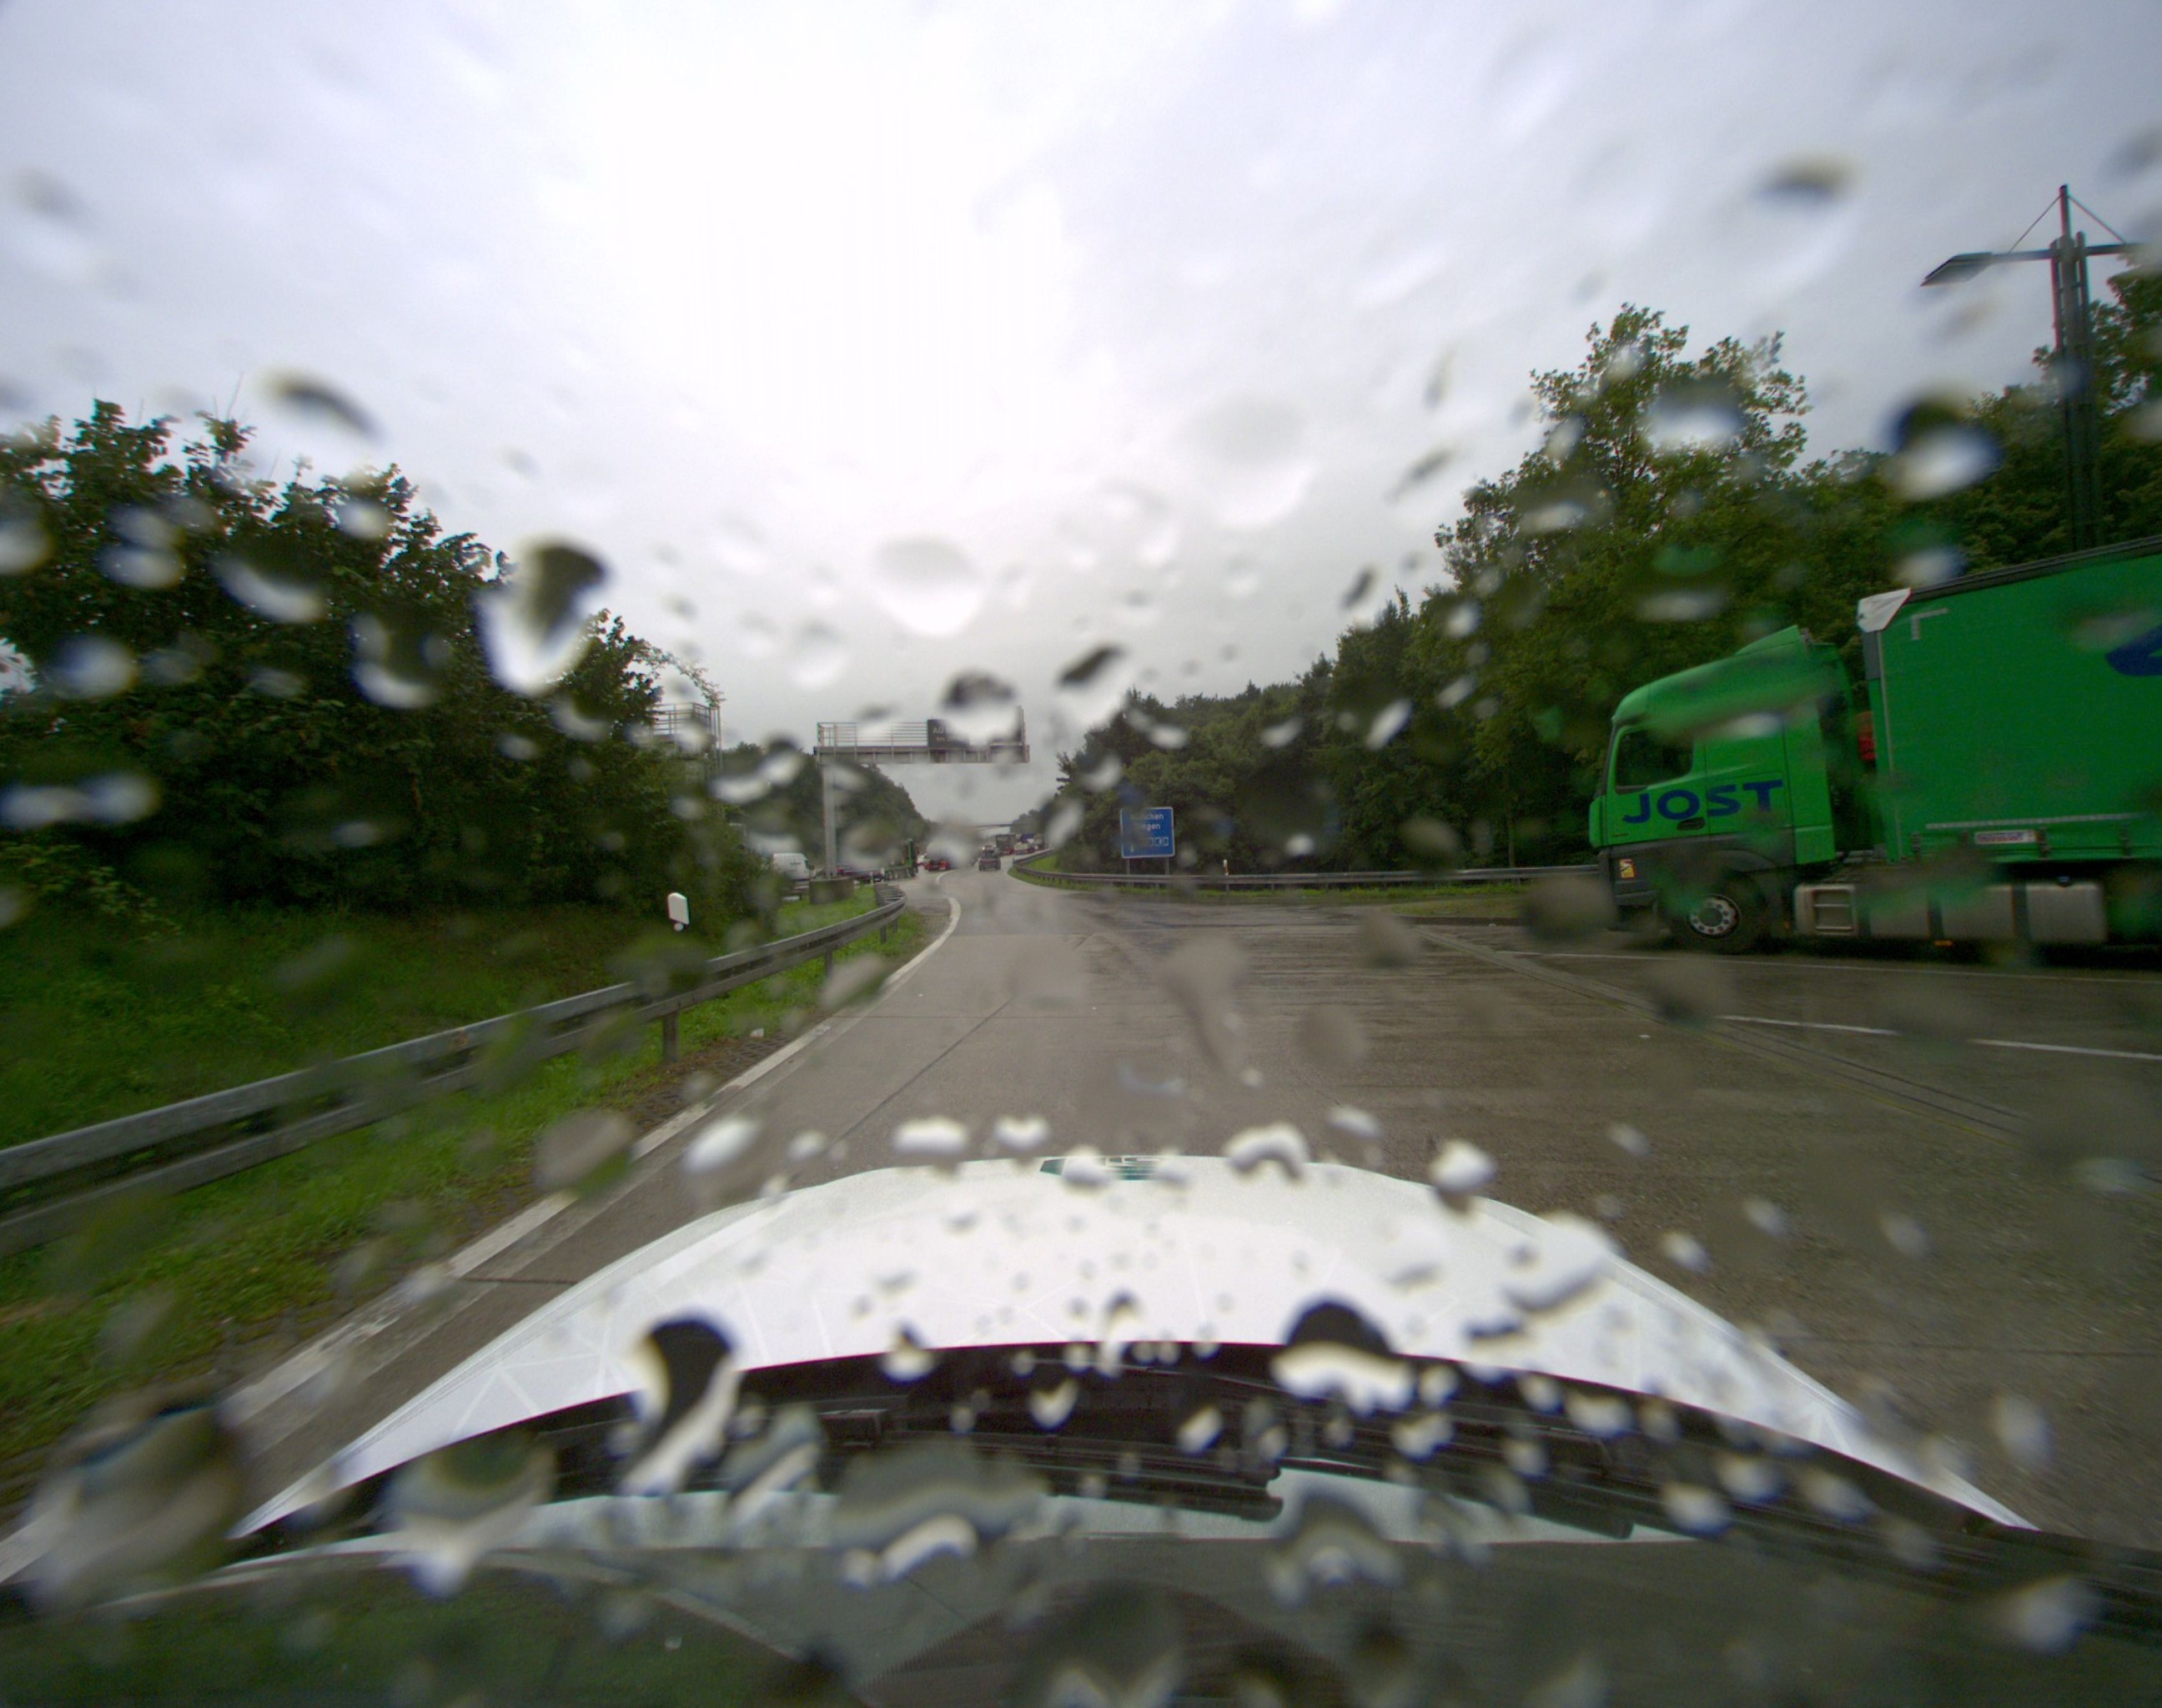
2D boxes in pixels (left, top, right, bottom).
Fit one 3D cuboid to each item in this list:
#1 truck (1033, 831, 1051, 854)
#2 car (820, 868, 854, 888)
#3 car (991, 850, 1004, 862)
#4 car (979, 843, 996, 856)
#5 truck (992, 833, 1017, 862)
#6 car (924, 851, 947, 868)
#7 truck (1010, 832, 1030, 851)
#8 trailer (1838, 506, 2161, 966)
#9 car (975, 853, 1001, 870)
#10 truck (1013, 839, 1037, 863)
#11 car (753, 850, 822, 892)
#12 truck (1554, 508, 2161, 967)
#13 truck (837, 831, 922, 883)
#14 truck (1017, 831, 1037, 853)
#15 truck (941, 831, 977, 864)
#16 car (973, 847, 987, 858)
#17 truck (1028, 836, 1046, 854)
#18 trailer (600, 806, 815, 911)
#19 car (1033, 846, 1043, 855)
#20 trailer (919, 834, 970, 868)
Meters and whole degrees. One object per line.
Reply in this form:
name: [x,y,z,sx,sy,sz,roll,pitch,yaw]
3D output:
truck: [-10.273,-3.012,213.999,4.323,5.763,9.727,0,0,-1]
car: [-22.876,2.249,76.407,1.778,1.727,4.003,0,0,3]
car: [-14.440,0.349,140.946,1.791,1.904,4.000,-1,0,0]
car: [-22.787,-1.109,198.593,3.234,3.002,6.775,0,0,1]
truck: [-15.022,-1.237,161.138,3.740,5.499,10.176,0,0,2]
car: [-17.349,0.654,97.368,1.812,1.766,4.003,-3,1,2]
truck: [-14.757,-3.057,197.636,3.563,4.095,10.883,-3,-1,2]
trailer: [13.921,-1.350,4.506,2.841,4.149,13.804,-3,-1,-39]
car: [-9.153,0.736,80.452,1.986,1.636,4.001,0,0,1]
truck: [-10.507,-0.627,153.608,3.589,4.104,11.559,-4,1,0]
car: [-20.752,1.127,57.936,2.205,2.629,5.852,-4,0,5]
truck: [9.644,-1.009,9.857,2.841,4.149,5.928,-3,-1,-39]
truck: [-16.083,0.112,66.127,2.818,3.588,11.814,-4,1,5]
truck: [-11.165,-2.402,169.535,3.496,4.268,10.600,0,0,0]
truck: [-14.223,-0.804,95.211,2.865,3.693,5.061,-4,1,3]
car: [-18.425,-0.230,148.134,1.791,1.903,4.001,-4,0,1]
truck: [-10.291,-2.131,192.825,3.744,3.970,11.054,0,0,-1]
trailer: [-17.825,0.136,40.780,2.903,4.205,13.660,-4,0,6]
car: [-9.499,-0.742,180.305,1.792,1.903,4.000,-4,0,0]
trailer: [-14.679,-0.405,88.474,2.860,3.288,10.091,-4,1,4]
